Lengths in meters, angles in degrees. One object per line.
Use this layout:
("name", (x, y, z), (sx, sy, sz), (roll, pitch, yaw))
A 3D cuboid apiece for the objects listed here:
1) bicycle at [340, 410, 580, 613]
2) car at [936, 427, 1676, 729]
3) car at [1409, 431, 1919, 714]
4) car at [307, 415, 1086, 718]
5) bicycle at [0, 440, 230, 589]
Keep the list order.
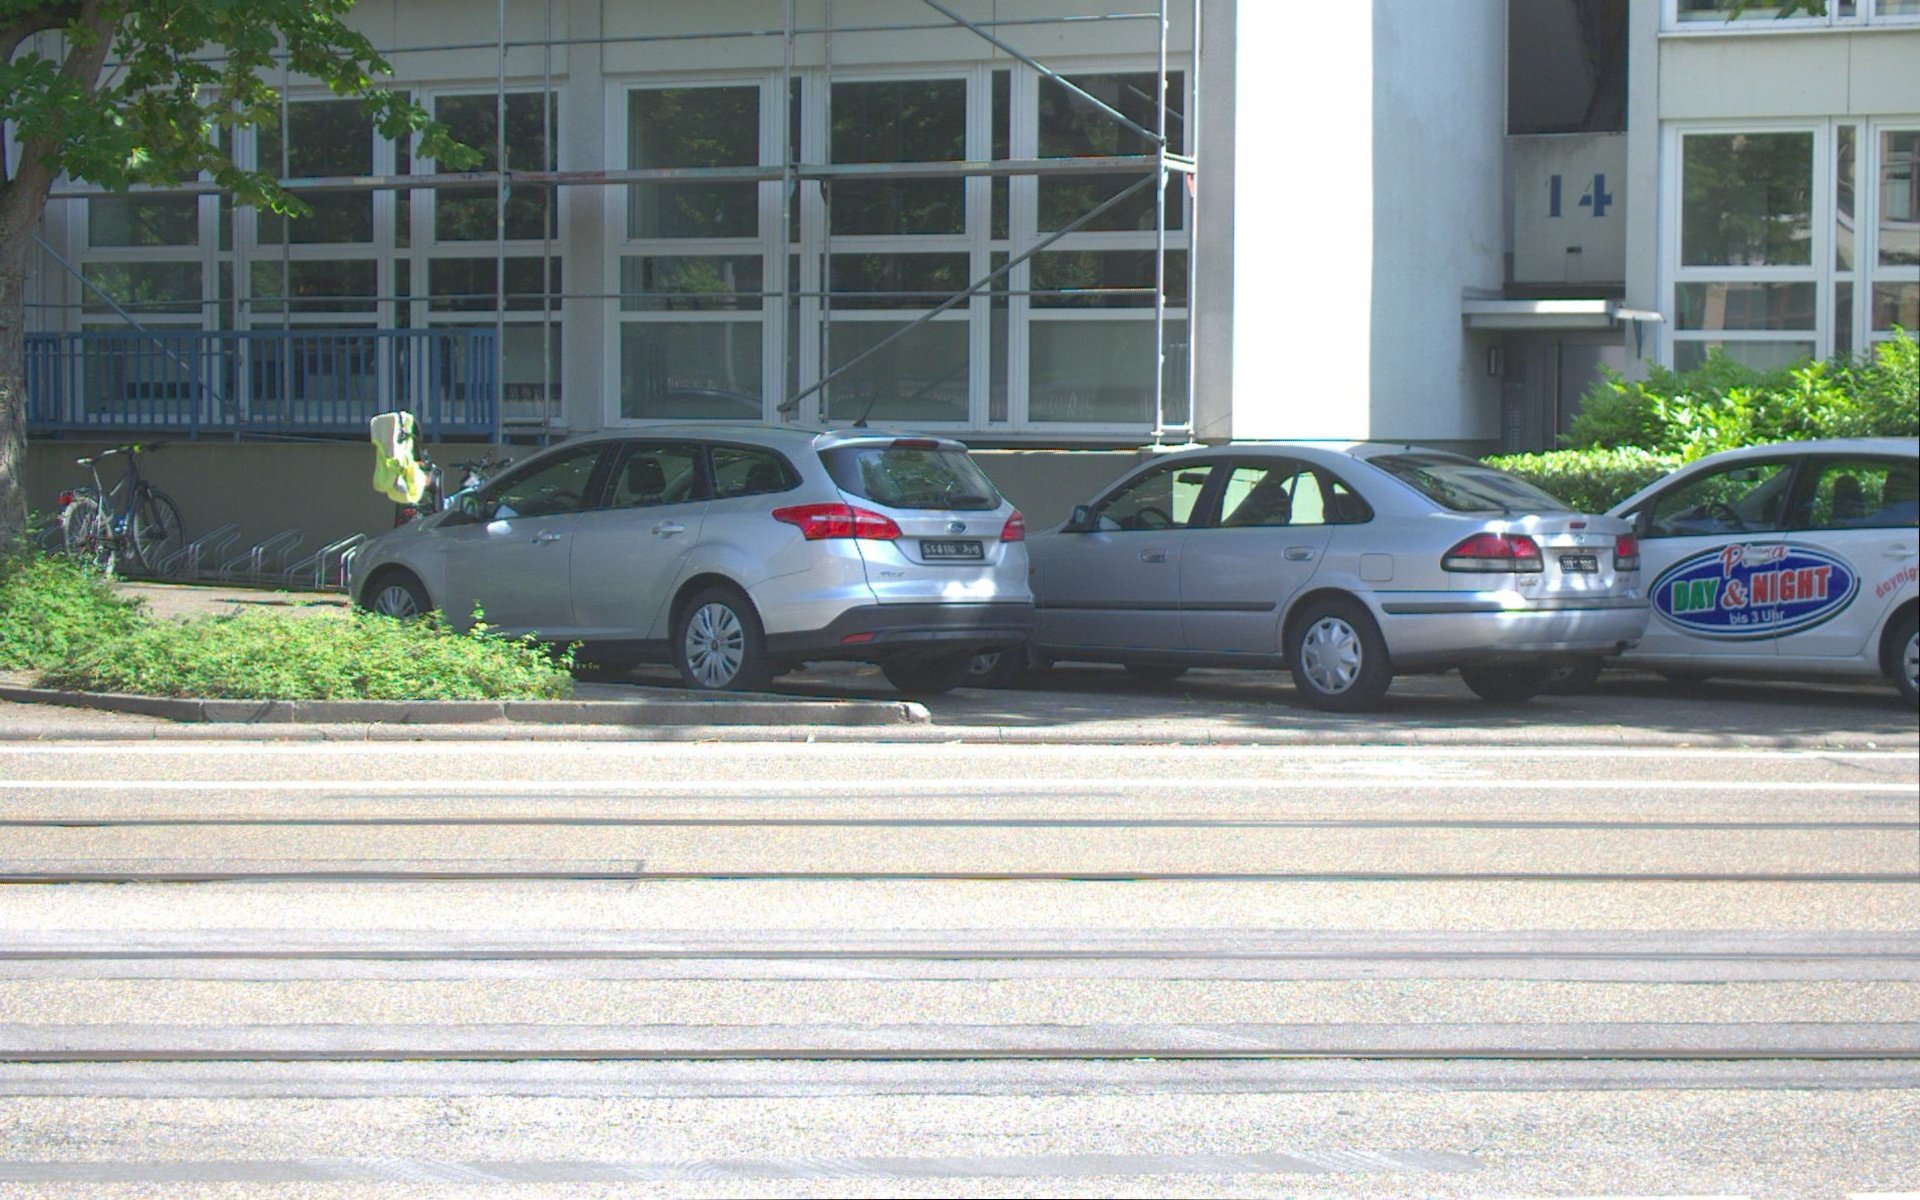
("bicycle", (-3.719, -0.683, 25.740), (0.662, 1.448, 2.087), (2, 3, 28))
("car", (1.839, -0.201, 19.163), (3.943, 1.481, 1.609), (3, 4, 44))
("car", (4.635, -0.203, 19.505), (3.942, 1.481, 1.609), (2, 3, 43))
("car", (-1.575, -0.272, 19.278), (4.432, 1.481, 1.780), (3, 4, 42))
("bicycle", (-6.491, -0.685, 26.545), (0.741, 1.082, 2.202), (1, 3, 15))
